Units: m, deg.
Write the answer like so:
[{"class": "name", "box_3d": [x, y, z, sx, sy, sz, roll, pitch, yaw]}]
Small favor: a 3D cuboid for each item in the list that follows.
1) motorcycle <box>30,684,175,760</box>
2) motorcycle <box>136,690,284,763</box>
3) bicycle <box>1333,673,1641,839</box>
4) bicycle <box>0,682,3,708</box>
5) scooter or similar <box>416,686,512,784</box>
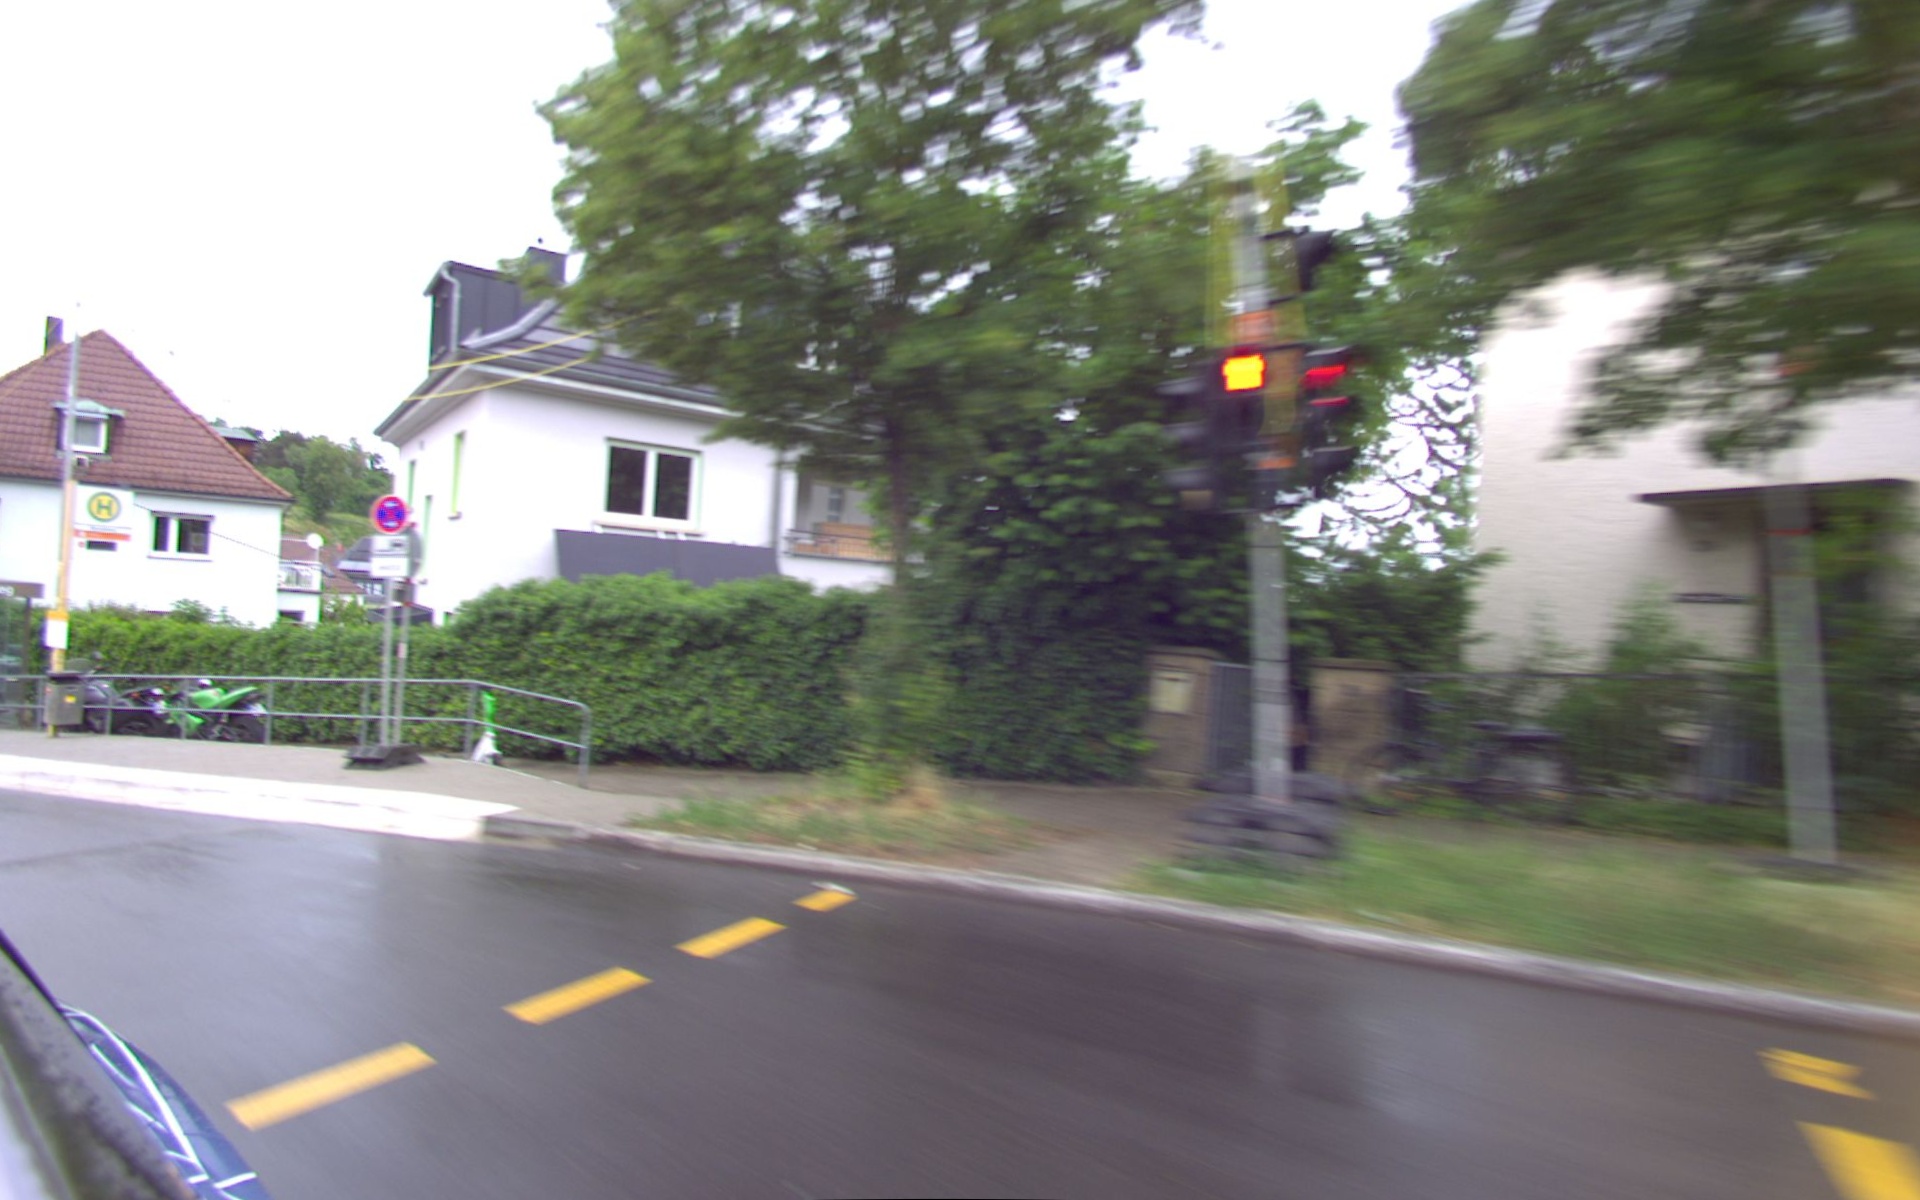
[{"class": "motorcycle", "box_3d": [-12.766, 1.783, 15.067, 2.137, 1.044, 0.664, -1, -5, 21]}, {"class": "motorcycle", "box_3d": [-10.512, 1.745, 14.182, 1.996, 0.941, 0.664, -1, -5, 21]}, {"class": "bicycle", "box_3d": [4.465, 1.286, 8.746, 2.262, 1.281, 0.487, -2, -2, 28]}, {"class": "bicycle", "box_3d": [-19.989, 2.028, 19.589, 1.094, 0.939, 1.856, -1, -5, 32]}, {"class": "scooter or similar", "box_3d": [-5.808, 1.562, 11.851, 1.088, 1.089, 0.322, -1, -5, 22]}]
